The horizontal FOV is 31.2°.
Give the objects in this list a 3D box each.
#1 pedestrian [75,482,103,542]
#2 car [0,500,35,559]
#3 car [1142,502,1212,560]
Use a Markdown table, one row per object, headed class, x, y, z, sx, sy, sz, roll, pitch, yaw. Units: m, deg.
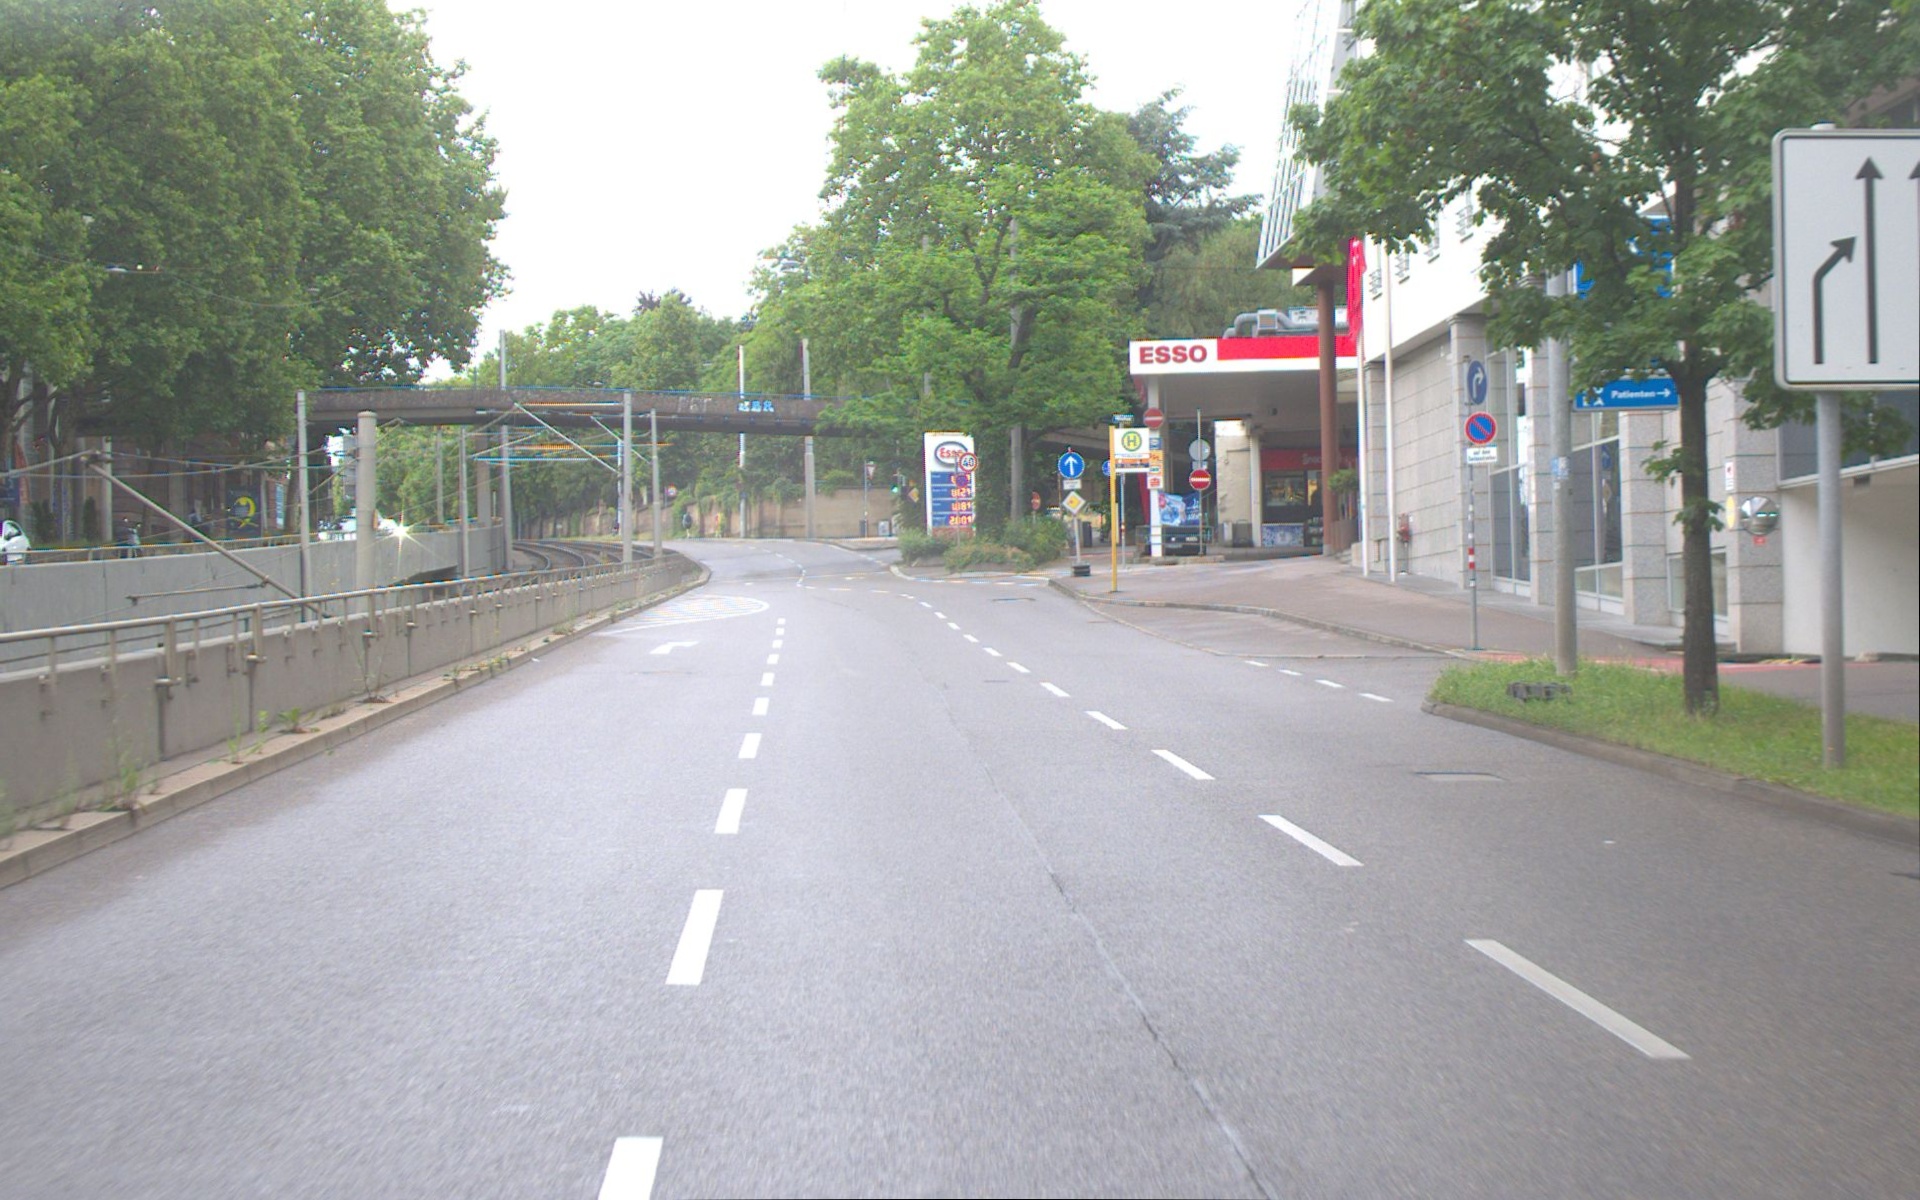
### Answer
| class | x | y | z | sx | sy | sz | roll | pitch | yaw |
| --- | --- | --- | --- | --- | --- | --- | --- | --- | --- |
| pedestrian | -29.678 | -3.008 | 117.124 | 0.669 | 2.007 | 0.935 | 1 | 0 | 1 |
| car | -26.926 | -1.964 | 94.807 | 1.794 | 1.606 | 4.112 | 1 | 1 | -1 |
| car | 6.493 | -2.049 | 102.608 | 1.773 | 1.618 | 3.865 | -3 | 1 | 7 |
